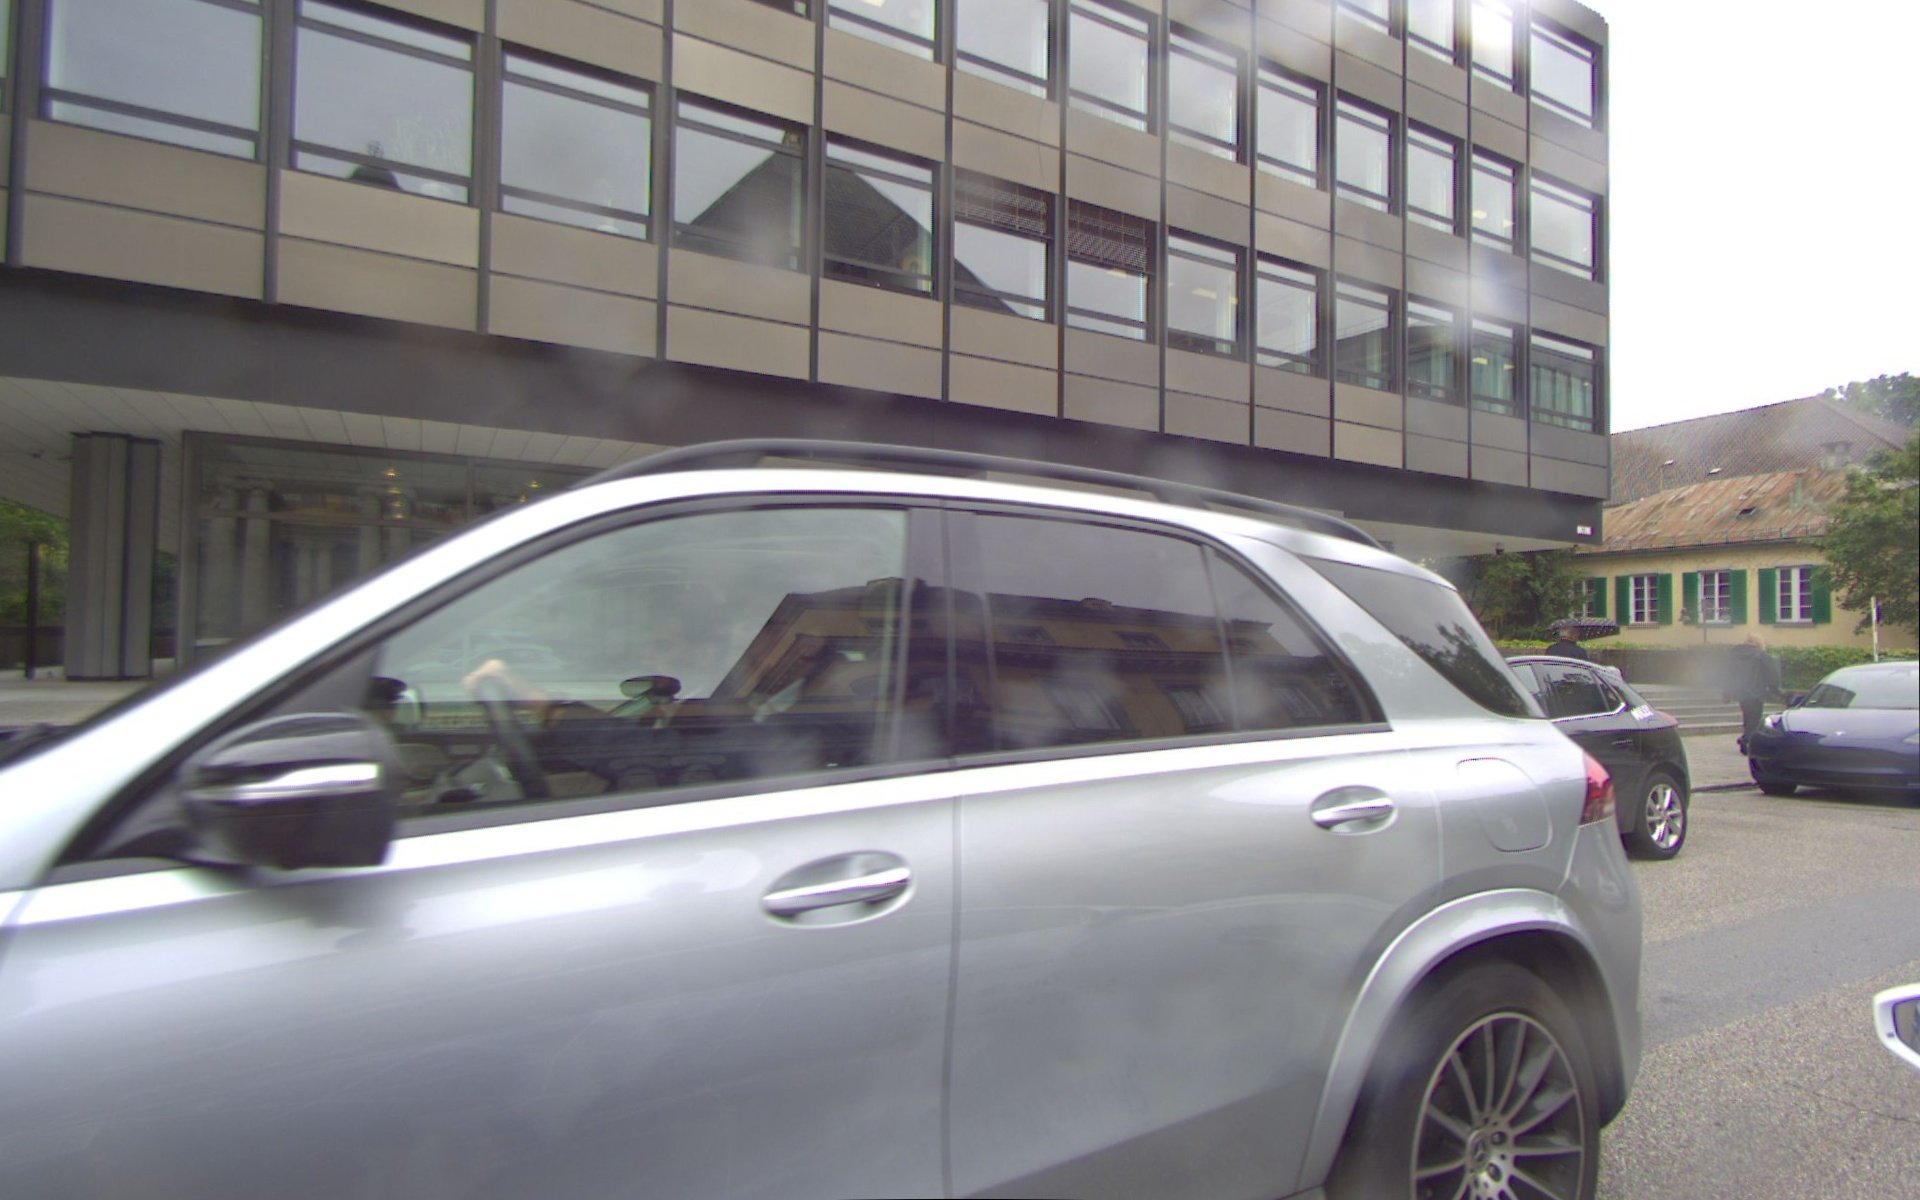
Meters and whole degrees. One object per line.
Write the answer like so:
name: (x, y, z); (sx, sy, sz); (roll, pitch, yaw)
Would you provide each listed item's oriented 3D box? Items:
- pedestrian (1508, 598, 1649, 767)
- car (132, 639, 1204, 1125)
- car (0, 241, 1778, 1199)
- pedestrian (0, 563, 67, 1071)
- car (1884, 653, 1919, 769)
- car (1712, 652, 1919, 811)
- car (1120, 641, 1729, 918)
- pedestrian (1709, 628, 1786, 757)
pedestrian: (8.130, 1.044, 13.223); (1.206, 2.082, 1.130); (2, -1, -29)
car: (-1.025, 0.980, 4.823); (4.226, 1.458, 1.675); (2, -5, -28)
car: (-0.547, 0.586, 2.241); (4.618, 1.711, 2.017); (2, -3, -28)
pedestrian: (-3.711, 0.749, 3.302); (0.676, 1.774, 0.894); (-1, -4, 1)
car: (15.022, 1.490, 13.749); (4.822, 1.510, 1.986); (2, -4, -28)
car: (10.566, 1.343, 11.065); (4.861, 1.458, 1.914); (3, -5, -31)
car: (3.361, 1.082, 7.166); (4.183, 1.480, 1.734); (2, -5, -28)
pedestrian: (11.313, 1.299, 14.423); (0.947, 1.772, 0.745); (3, -3, -45)
